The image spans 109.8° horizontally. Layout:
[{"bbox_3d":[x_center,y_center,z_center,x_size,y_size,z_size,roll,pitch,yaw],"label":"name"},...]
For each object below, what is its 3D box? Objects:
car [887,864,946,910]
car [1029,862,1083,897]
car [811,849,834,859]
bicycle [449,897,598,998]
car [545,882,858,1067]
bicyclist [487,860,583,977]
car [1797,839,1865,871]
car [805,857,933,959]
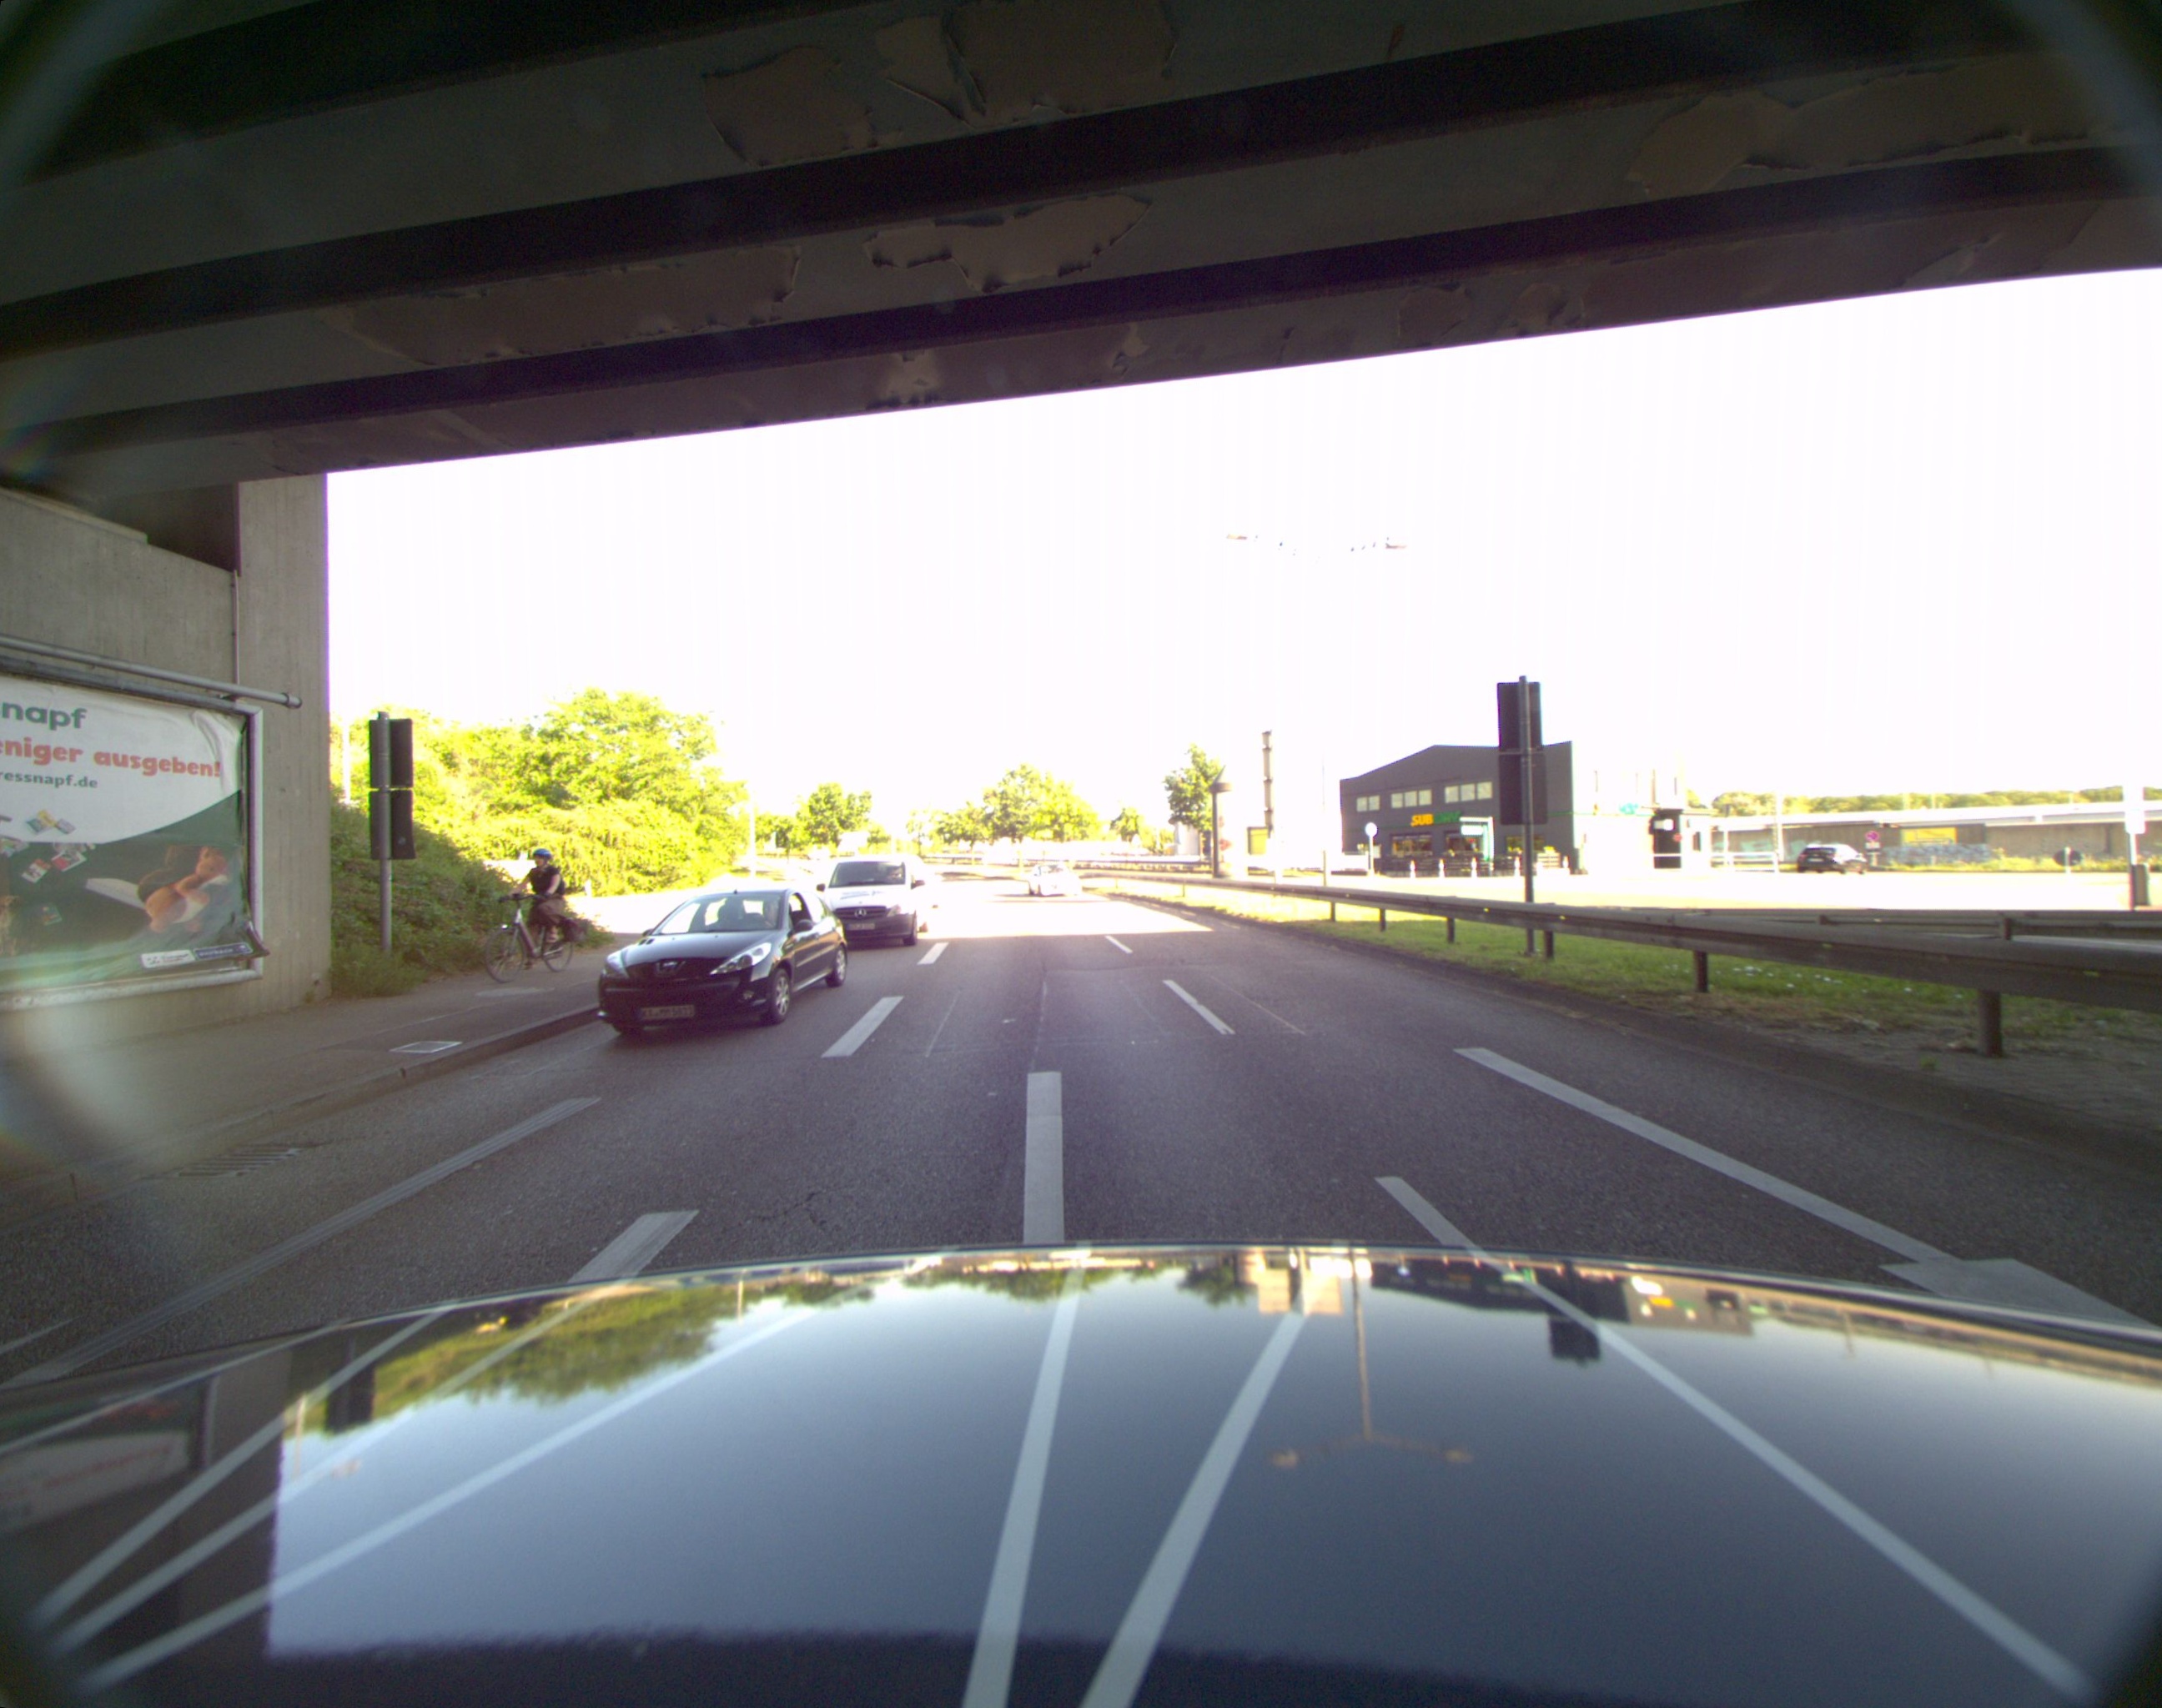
[{"bbox_3d":[-6.391,1.212,29.967,2.000,1.542,4.417,-2,0,-9],"label":"car"},{"bbox_3d":[-1.201,1.115,34.280,1.738,1.395,3.867,-2,0,-12],"label":"car"},{"bbox_3d":[-42.375,-0.012,124.283,4.283,1.597,1.810,-1,1,45],"label":"car"},{"bbox_3d":[-7.487,1.212,10.325,0.652,1.160,1.779,1,-1,2],"label":"bicycle"},{"bbox_3d":[-3.944,1.150,8.682,1.750,1.447,3.716,-2,0,-2],"label":"car"},{"bbox_3d":[-7.477,0.855,10.440,0.654,1.524,0.847,1,-1,2],"label":"bicyclist"},{"bbox_3d":[38.444,0.033,38.910,4.007,1.434,1.878,-3,1,-37],"label":"car"},{"bbox_3d":[-4.438,1.010,16.661,1.903,1.825,4.832,-2,0,-7],"label":"car"}]
